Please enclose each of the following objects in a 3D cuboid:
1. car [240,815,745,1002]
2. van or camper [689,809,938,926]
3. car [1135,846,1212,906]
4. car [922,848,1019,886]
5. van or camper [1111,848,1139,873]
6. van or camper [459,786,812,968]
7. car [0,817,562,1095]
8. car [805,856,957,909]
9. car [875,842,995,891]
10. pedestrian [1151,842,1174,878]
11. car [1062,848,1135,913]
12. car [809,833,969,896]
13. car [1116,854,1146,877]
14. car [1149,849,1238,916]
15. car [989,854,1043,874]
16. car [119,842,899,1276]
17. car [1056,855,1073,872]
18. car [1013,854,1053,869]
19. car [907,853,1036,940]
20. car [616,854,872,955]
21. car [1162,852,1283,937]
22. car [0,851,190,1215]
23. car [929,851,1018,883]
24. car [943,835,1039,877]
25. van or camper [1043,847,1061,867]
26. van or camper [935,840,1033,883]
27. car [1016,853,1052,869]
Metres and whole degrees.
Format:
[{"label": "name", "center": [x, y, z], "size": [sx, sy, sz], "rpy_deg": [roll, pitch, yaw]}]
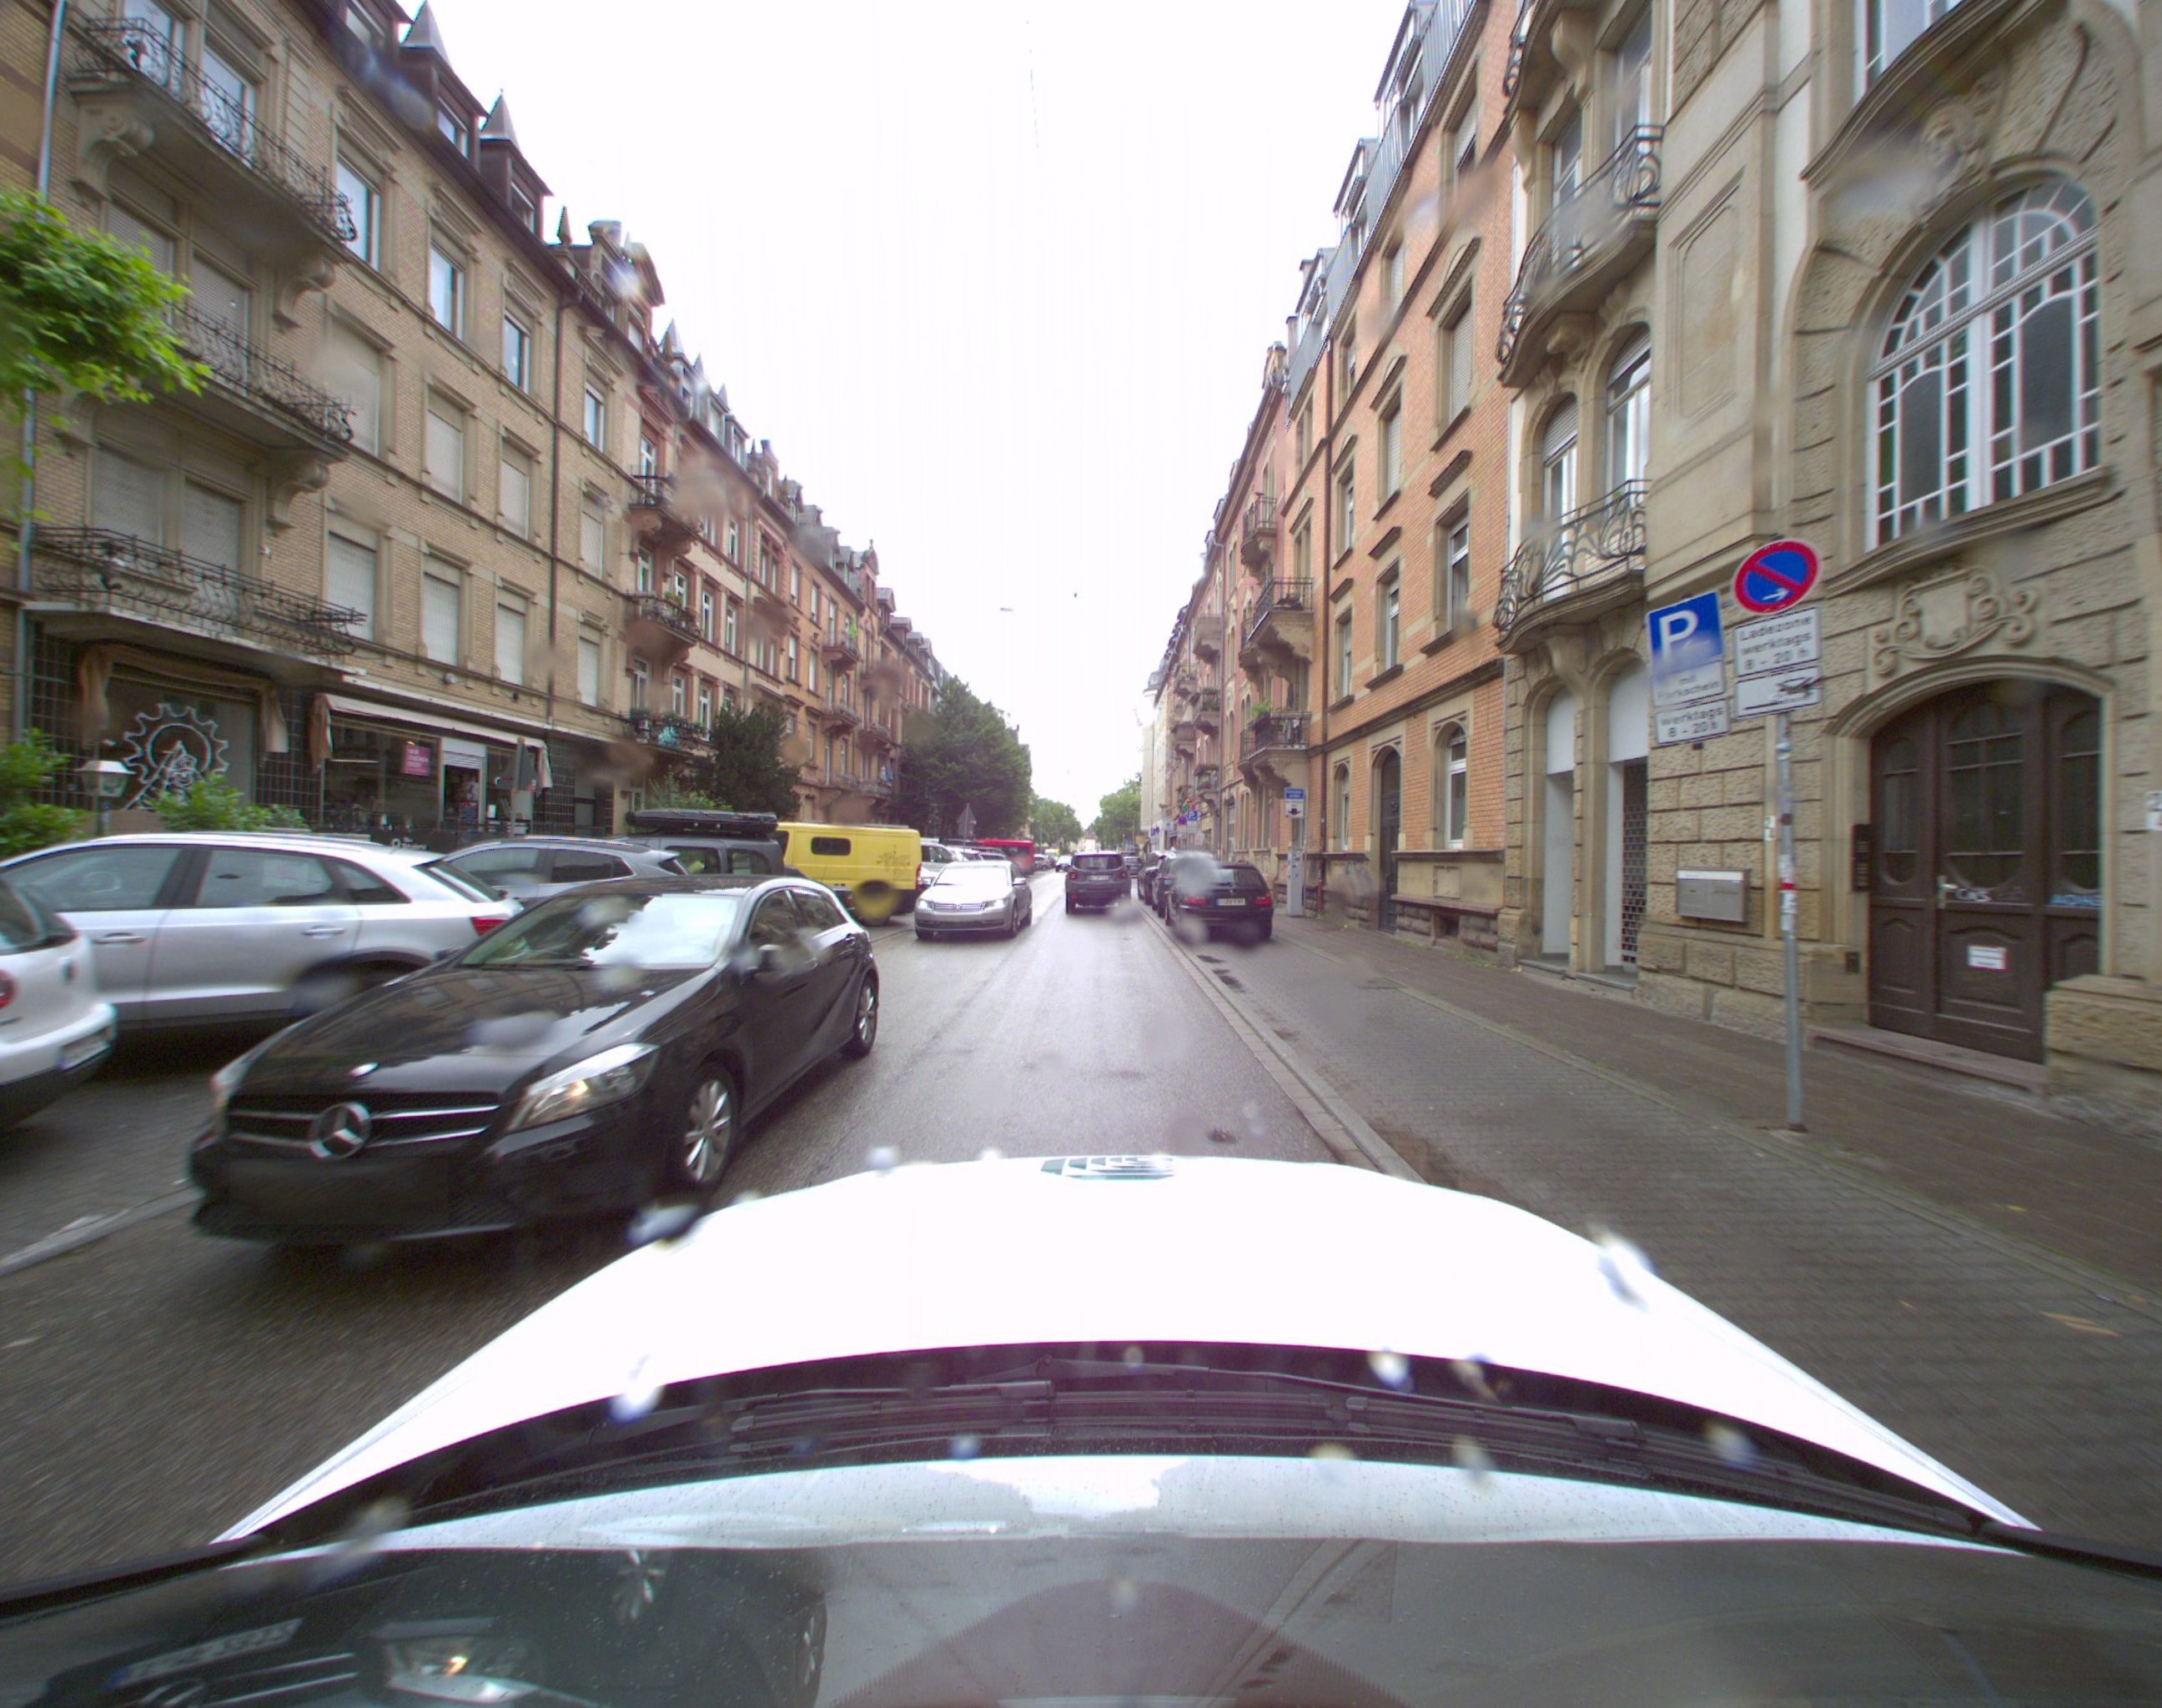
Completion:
[{"label": "car", "center": [-6.229, 0.600, 9.174], "size": [4.155, 1.662, 1.781], "rpy_deg": [4, -3, -36]}, {"label": "van or camper", "center": [-5.827, 0.322, 17.914], "size": [4.742, 2.268, 2.163], "rpy_deg": [3, 0, -32]}, {"label": "car", "center": [2.916, 0.662, 26.738], "size": [1.987, 1.779, 4.825], "rpy_deg": [0, 0, 0]}, {"label": "car", "center": [-5.544, 0.662, 40.907], "size": [4.453, 1.630, 1.829], "rpy_deg": [3, 0, -26]}, {"label": "van or camper", "center": [3.524, 0.508, 66.284], "size": [2.015, 1.891, 5.055], "rpy_deg": [-1, 0, 0]}, {"label": "van or camper", "center": [-6.305, 0.398, 11.897], "size": [4.097, 2.240, 1.918], "rpy_deg": [4, -3, -32]}, {"label": "car", "center": [-6.398, 0.639, 6.013], "size": [4.155, 1.662, 1.782], "rpy_deg": [4, -2, -36]}, {"label": "car", "center": [-5.855, 0.805, 23.859], "size": [4.009, 1.436, 1.768], "rpy_deg": [1, -1, -28]}, {"label": "car", "center": [-6.116, 0.509, 34.684], "size": [4.564, 1.785, 2.545], "rpy_deg": [3, 0, 0]}, {"label": "pedestrian", "center": [4.841, 0.350, 48.253], "size": [0.672, 1.938, 0.814], "rpy_deg": [-1, -25, 36]}, {"label": "car", "center": [0.462, 0.705, 23.458], "size": [1.893, 1.671, 4.504], "rpy_deg": [0, 0, 0]}, {"label": "car", "center": [-6.767, 0.389, 28.827], "size": [5.260, 2.078, 1.855], "rpy_deg": [1, -1, -24]}, {"label": "car", "center": [3.444, 0.753, 56.842], "size": [1.835, 1.545, 4.002], "rpy_deg": [0, 0, 0]}, {"label": "car", "center": [2.861, 0.685, 21.610], "size": [1.864, 1.562, 4.346], "rpy_deg": [-1, 0, 2]}, {"label": "car", "center": [-5.228, 0.796, 65.559], "size": [3.998, 1.447, 1.747], "rpy_deg": [2, 0, -40]}, {"label": "car", "center": [-2.501, 0.796, 4.981], "size": [1.789, 1.494, 4.137], "rpy_deg": [-1, -2, 0]}, {"label": "car", "center": [-1.673, 0.937, 81.030], "size": [1.665, 1.559, 4.001], "rpy_deg": [0, 0, -1]}, {"label": "car", "center": [-4.877, 0.783, 82.361], "size": [3.729, 1.452, 1.667], "rpy_deg": [-1, 0, -35]}, {"label": "car", "center": [-2.085, 0.757, 16.794], "size": [1.788, 1.493, 4.587], "rpy_deg": [-1, 1, 3]}, {"label": "car", "center": [-6.034, 0.797, 14.683], "size": [4.013, 1.495, 1.809], "rpy_deg": [-1, 1, -31]}, {"label": "car", "center": [2.675, 0.707, 16.383], "size": [1.780, 1.466, 4.485], "rpy_deg": [0, 0, 2]}, {"label": "car", "center": [-6.647, 0.648, 2.991], "size": [4.154, 1.494, 1.782], "rpy_deg": [4, -3, -35]}, {"label": "car", "center": [-5.703, 0.714, 43.359], "size": [4.359, 1.504, 1.742], "rpy_deg": [2, 0, -22]}, {"label": "car", "center": [-5.675, 0.171, 51.613], "size": [5.585, 2.541, 2.210], "rpy_deg": [1, 0, -27]}, {"label": "van or camper", "center": [-4.192, 0.505, 119.030], "size": [2.114, 2.531, 6.874], "rpy_deg": [-3, -2, 1]}, {"label": "van or camper", "center": [-5.505, 0.411, 46.333], "size": [5.034, 2.349, 2.325], "rpy_deg": [1, 0, -26]}, {"label": "car", "center": [-4.945, 0.738, 85.078], "size": [3.398, 1.654, 1.617], "rpy_deg": [-1, 0, -32]}]
